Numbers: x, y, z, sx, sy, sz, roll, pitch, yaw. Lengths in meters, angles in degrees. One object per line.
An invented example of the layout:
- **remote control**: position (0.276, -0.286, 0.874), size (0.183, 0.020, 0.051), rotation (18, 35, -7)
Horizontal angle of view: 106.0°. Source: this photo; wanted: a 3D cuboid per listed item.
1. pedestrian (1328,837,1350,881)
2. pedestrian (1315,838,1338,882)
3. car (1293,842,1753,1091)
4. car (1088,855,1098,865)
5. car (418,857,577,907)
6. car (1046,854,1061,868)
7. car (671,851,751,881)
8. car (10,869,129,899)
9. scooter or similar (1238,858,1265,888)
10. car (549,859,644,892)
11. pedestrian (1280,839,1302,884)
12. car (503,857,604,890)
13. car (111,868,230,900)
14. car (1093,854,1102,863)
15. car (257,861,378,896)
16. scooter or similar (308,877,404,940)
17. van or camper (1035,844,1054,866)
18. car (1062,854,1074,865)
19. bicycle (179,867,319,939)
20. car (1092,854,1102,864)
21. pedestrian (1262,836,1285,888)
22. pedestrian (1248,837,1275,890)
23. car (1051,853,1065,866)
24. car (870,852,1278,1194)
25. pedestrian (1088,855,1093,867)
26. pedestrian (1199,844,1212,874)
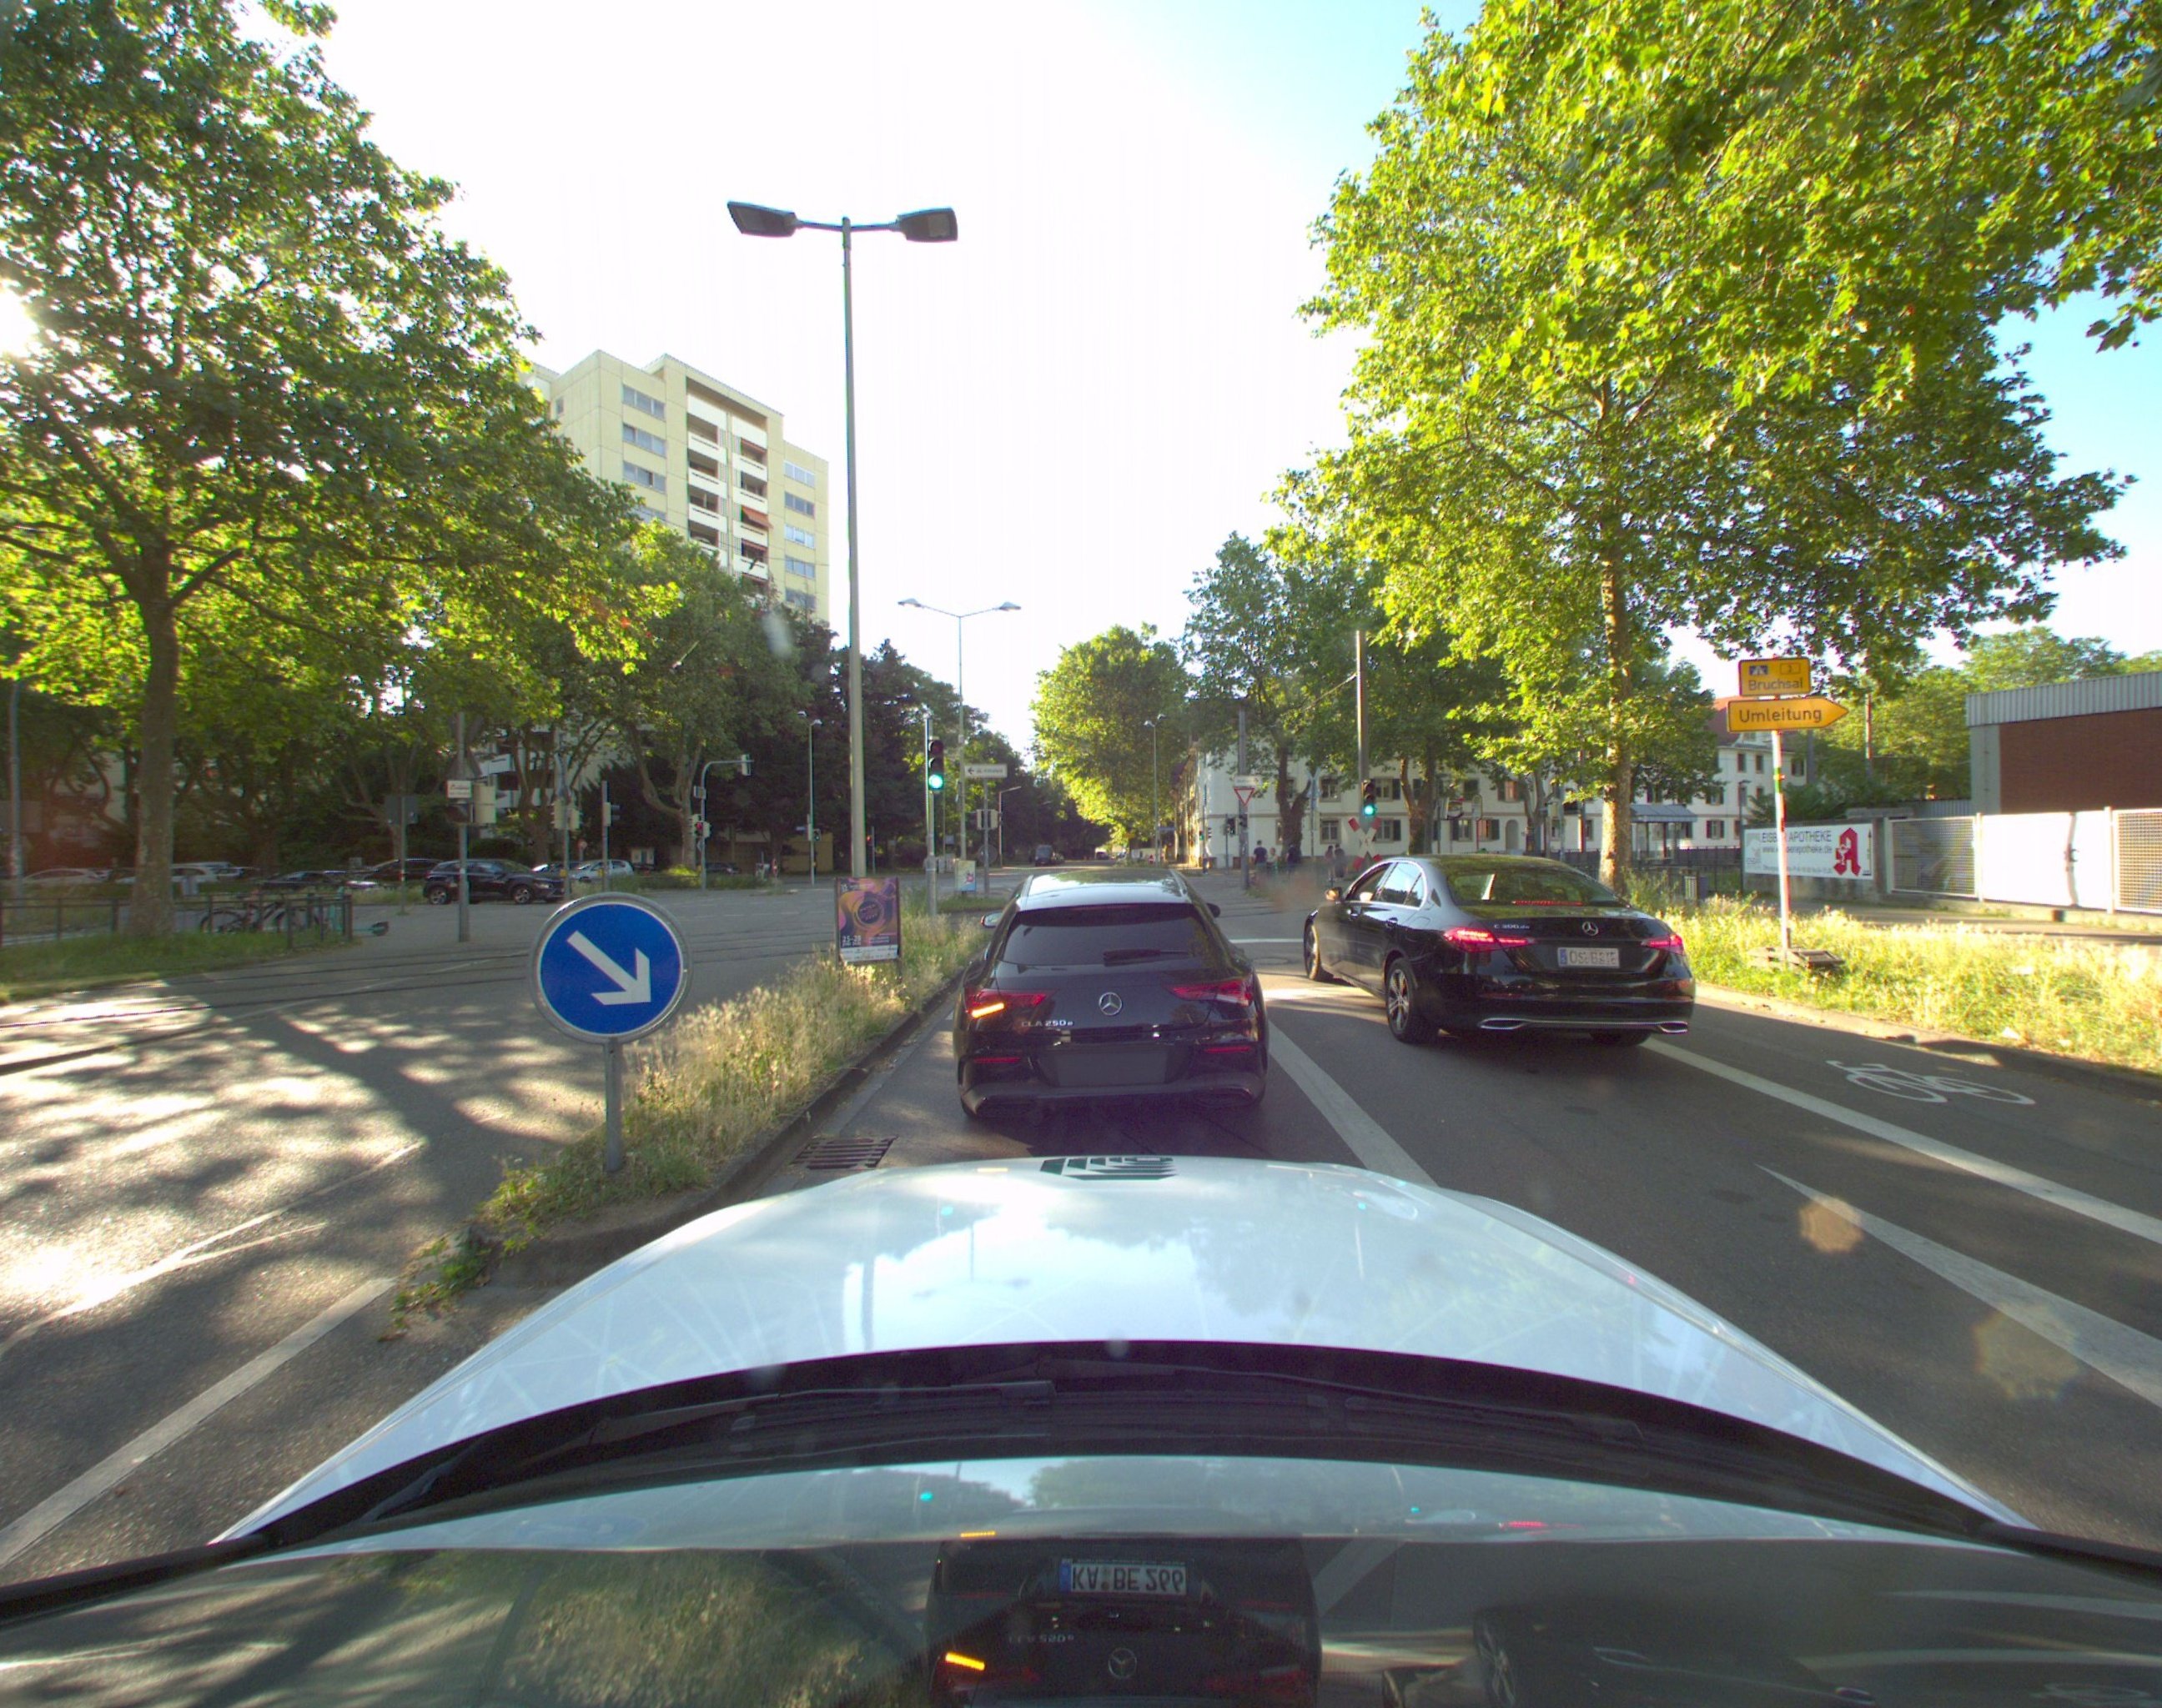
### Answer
- **pedestrian**: position (11.568, 0.231, 36.541), size (0.703, 1.918, 0.838), rotation (0, -1, -2)
- **pedestrian**: position (10.718, 0.259, 35.560), size (0.703, 1.918, 0.838), rotation (0, -1, -2)
- **car**: position (3.350, 0.681, 7.327), size (1.882, 1.490, 4.384), rotation (0, 2, 2)
- **car**: position (2.094, 1.020, 145.737), size (1.727, 1.765, 4.020), rotation (0, -1, 2)
- **car**: position (-19.438, 0.916, 27.282), size (3.981, 1.596, 1.735), rotation (0, -1, -5)
- **car**: position (-3.670, 0.960, 110.046), size (1.727, 1.765, 4.343), rotation (0, -1, 2)
- **car**: position (-22.645, 0.750, 49.925), size (3.963, 1.774, 2.005), rotation (-1, -1, 9)
- **car**: position (-57.106, 1.670, 46.072), size (1.716, 1.596, 4.025), rotation (-1, -1, 32)
- **scooter or similar**: position (6.420, 0.721, 30.694), size (0.826, 1.104, 0.808), rotation (0, -1, -4)
- **car**: position (-24.928, 1.058, 42.027), size (1.716, 1.596, 3.831), rotation (-1, -1, 32)
- **pedestrian**: position (9.158, 0.317, 35.465), size (0.703, 1.918, 0.838), rotation (0, -1, -2)
- **car**: position (-27.224, 0.978, 42.161), size (1.716, 1.596, 4.025), rotation (-1, -1, 32)
- **car**: position (-49.165, 1.592, 44.069), size (1.716, 1.596, 4.025), rotation (-1, -1, 32)
- **car**: position (3.235, 0.915, 158.625), size (1.727, 1.765, 4.020), rotation (0, -1, 2)
- **car**: position (-37.419, 1.149, 39.997), size (1.716, 1.596, 4.025), rotation (-1, -1, 32)
- **scooter or similar**: position (-15.097, 1.107, 16.982), size (0.408, 1.239, 1.450), rotation (-1, -1, 40)
- **van or camper**: position (-4.426, 0.137, 100.051), size (1.986, 2.541, 4.653), rotation (0, -1, 2)
- **car**: position (-1.984, 0.834, 126.669), size (1.727, 1.765, 3.972), rotation (0, -1, 2)
- **bicycle**: position (-15.956, 0.922, 15.670), size (1.845, 1.307, 0.380), rotation (0, -1, -26)
- **car**: position (2.905, 0.993, 150.542), size (1.727, 1.765, 4.020), rotation (0, -1, 2)
- **pedestrian**: position (7.247, 0.297, 30.650), size (0.681, 1.918, 0.707), rotation (0, -1, -2)
- **pedestrian**: position (6.585, 0.347, 29.752), size (0.708, 1.918, 0.679), rotation (0, -1, -24)
- **car**: position (-3.286, 0.765, 116.965), size (1.727, 1.765, 4.087), rotation (0, -1, 2)
- **car**: position (0.077, 0.783, 5.776), size (1.881, 1.450, 4.004), rotation (0, 2, 3)
- **pedestrian**: position (1.528, 1.062, 130.201), size (0.704, 1.918, 0.837), rotation (0, -1, -8)
- **pedestrian**: position (8.239, 0.330, 54.101), size (0.703, 1.918, 0.838), rotation (0, -1, -2)
